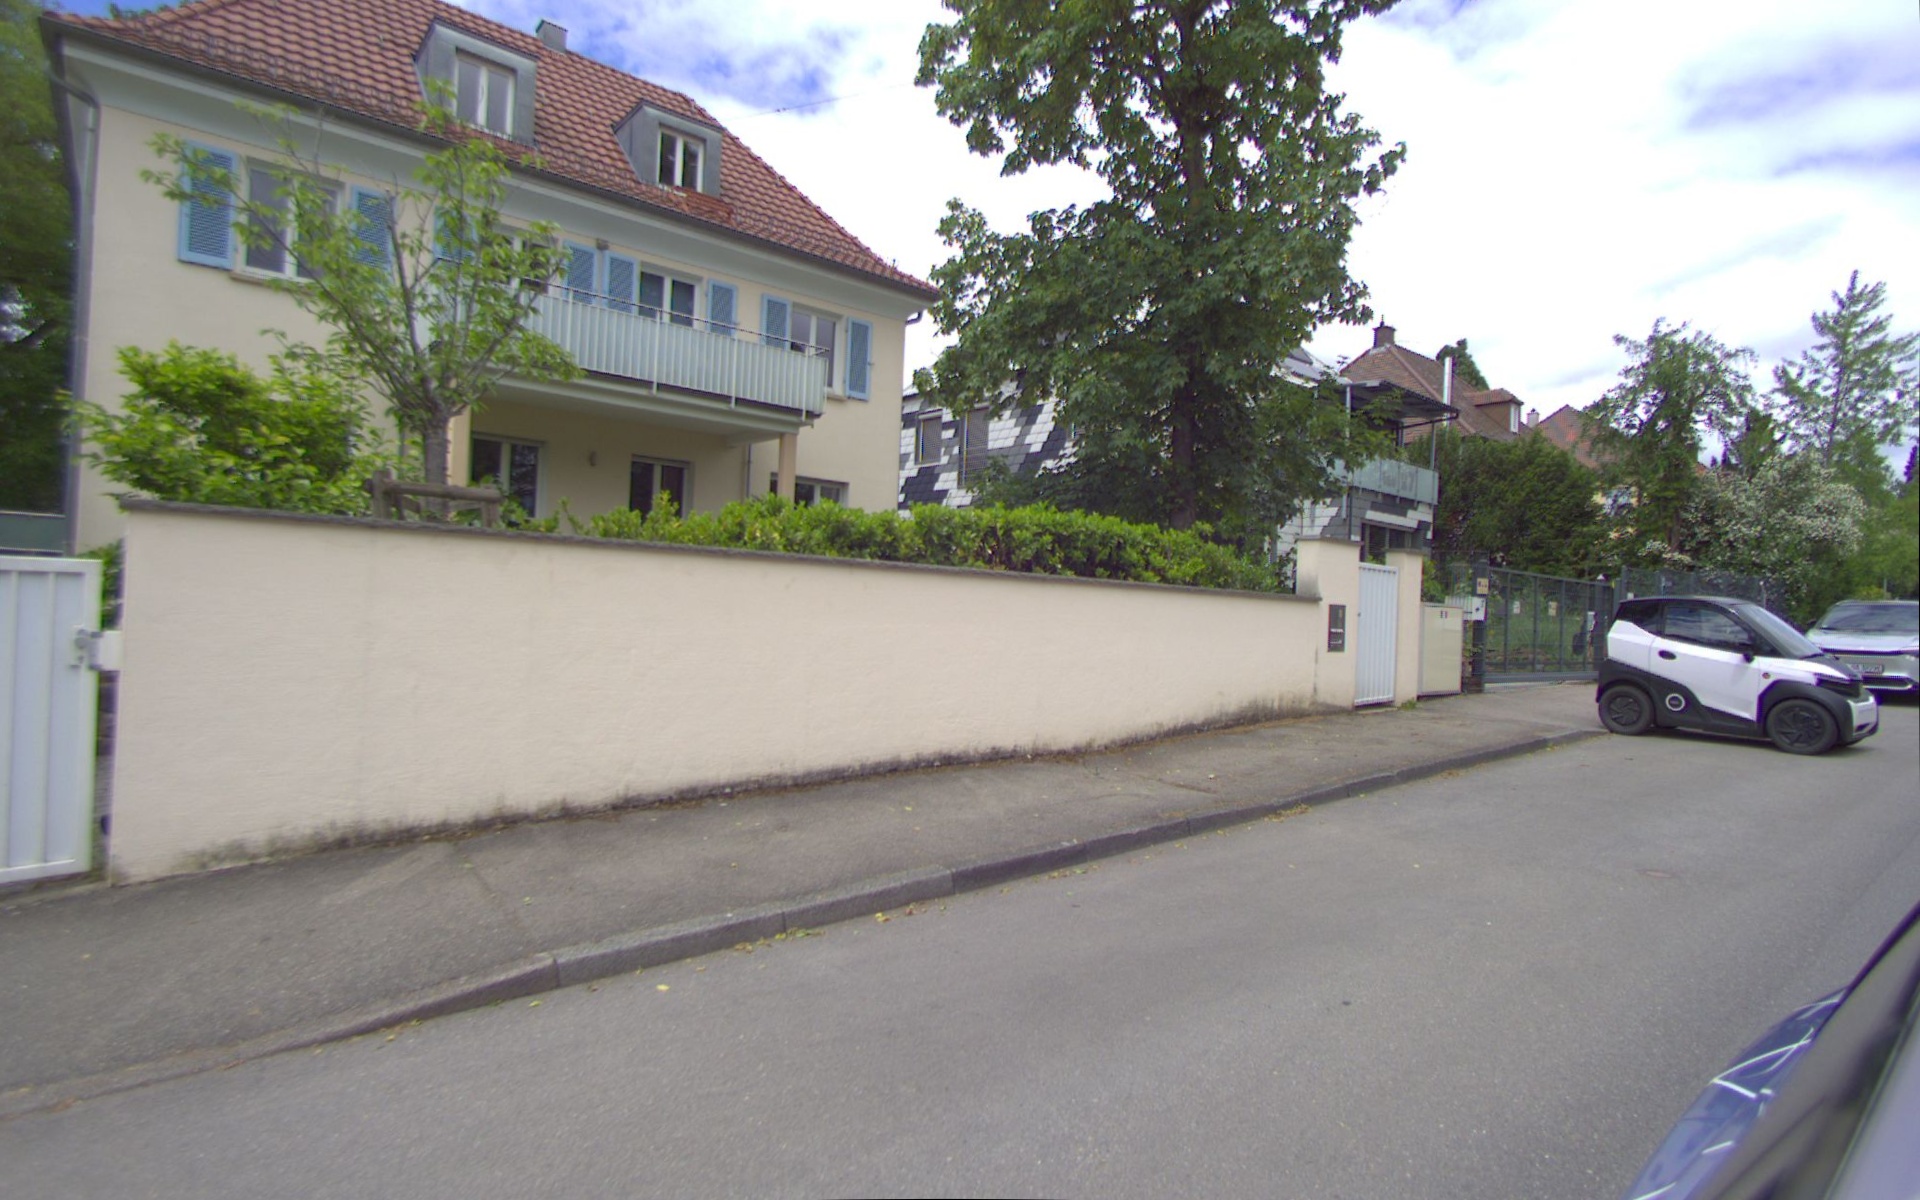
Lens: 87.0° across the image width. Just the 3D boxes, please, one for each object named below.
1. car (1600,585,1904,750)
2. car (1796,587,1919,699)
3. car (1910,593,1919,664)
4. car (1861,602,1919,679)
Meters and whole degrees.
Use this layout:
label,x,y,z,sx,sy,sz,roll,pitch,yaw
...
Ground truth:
label,x,y,z,sx,sy,sz,roll,pitch,yaw
car,8.477,0.642,10.946,1.292,1.543,2.295,1,0,-34
car,15.384,0.622,16.586,4.412,1.644,1.833,0,0,-40
car,24.184,0.655,24.112,4.096,1.647,1.853,0,0,-41
car,19.370,0.761,20.016,4.160,1.399,1.720,0,0,-40
